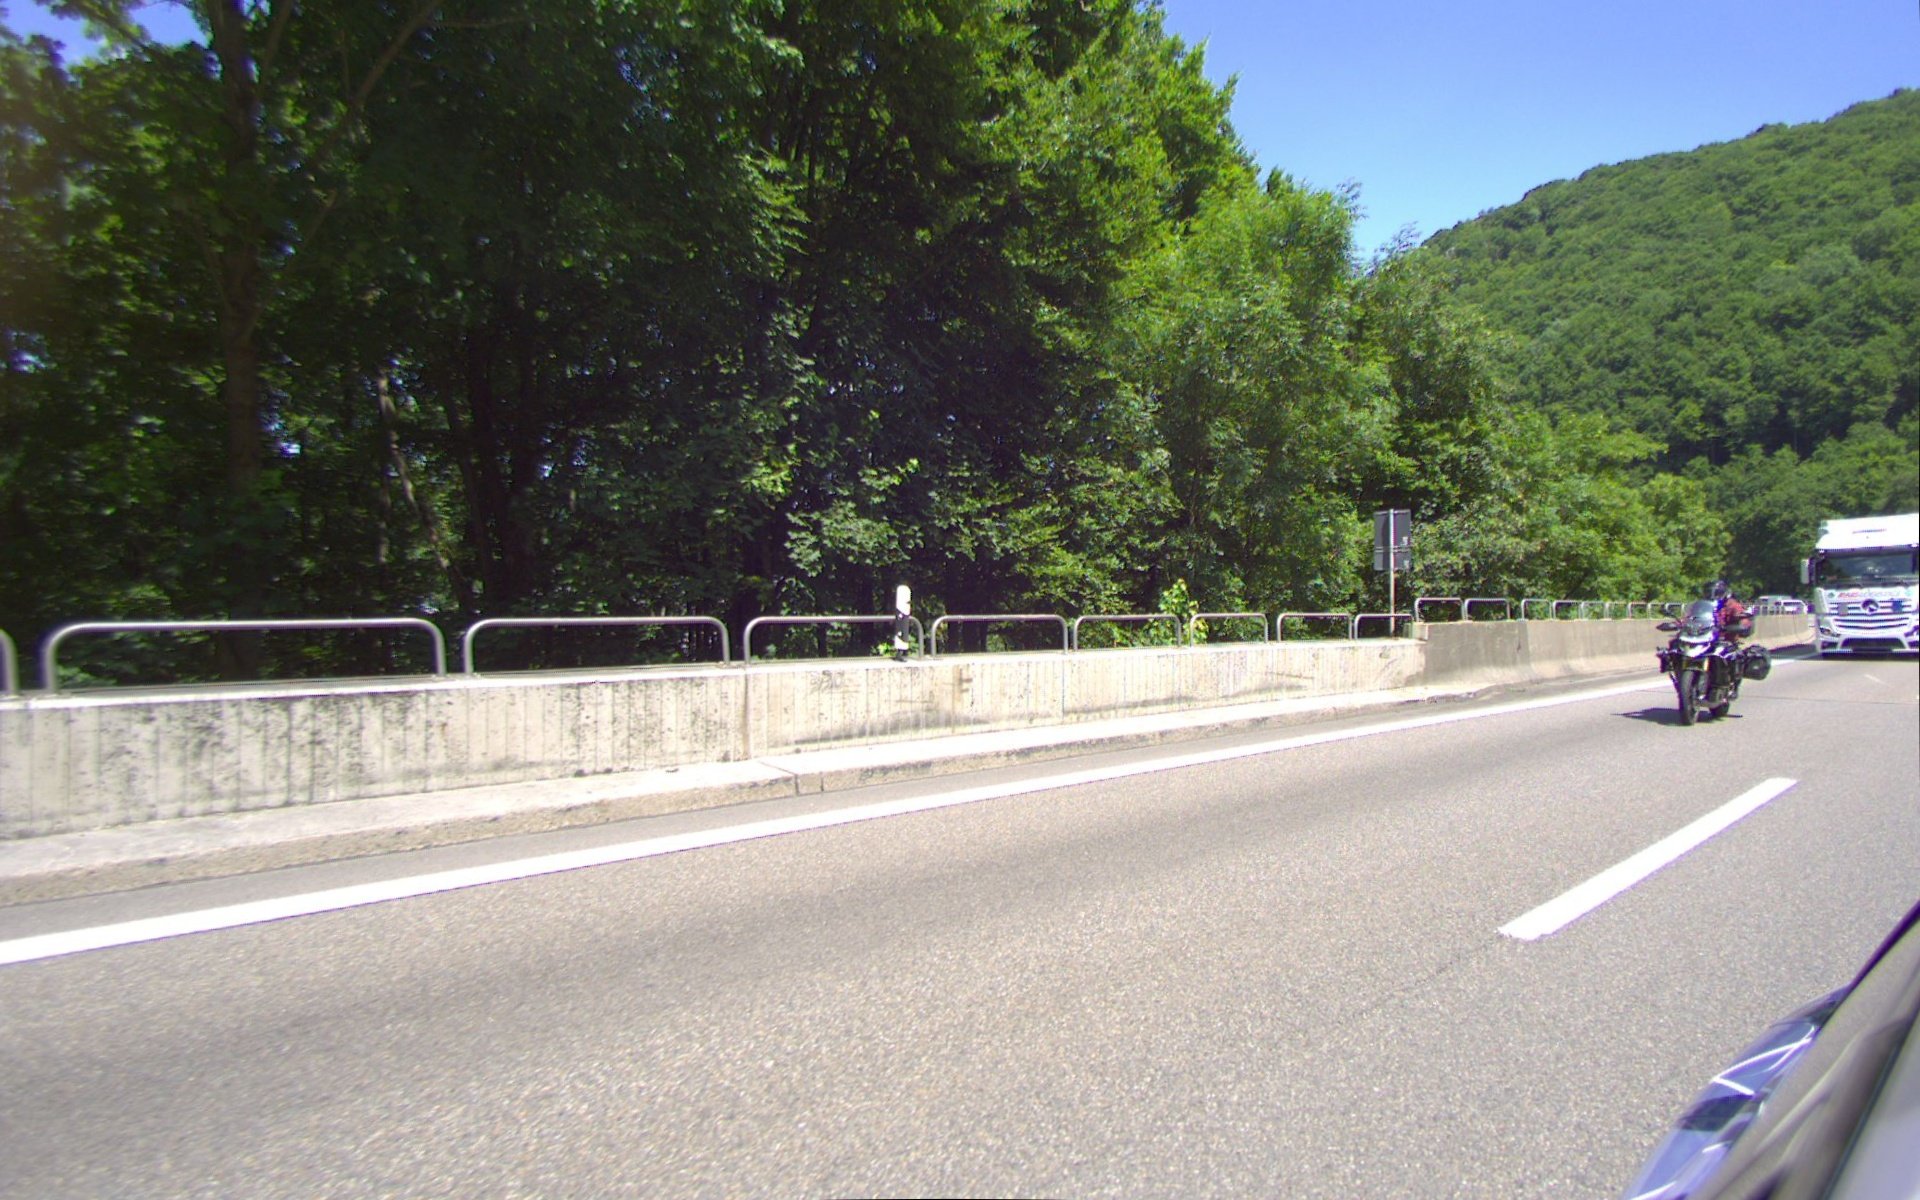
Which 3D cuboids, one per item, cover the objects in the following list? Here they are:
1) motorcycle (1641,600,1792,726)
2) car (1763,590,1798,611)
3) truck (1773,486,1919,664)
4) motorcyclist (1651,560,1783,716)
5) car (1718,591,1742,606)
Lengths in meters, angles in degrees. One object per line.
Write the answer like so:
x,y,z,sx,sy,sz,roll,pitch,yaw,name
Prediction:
9.608,0.715,12.802,2.633,1.437,0.974,0,0,-40,motorcycle
80.664,0.011,99.567,1.983,2.039,3.958,0,0,29,car
28.024,-0.593,30.287,16.419,4.186,2.964,0,-2,-42,truck
9.527,0.444,12.730,1.314,1.823,1.062,0,-1,-41,motorcyclist
101.972,-0.211,134.055,1.983,2.039,3.958,0,0,30,car
